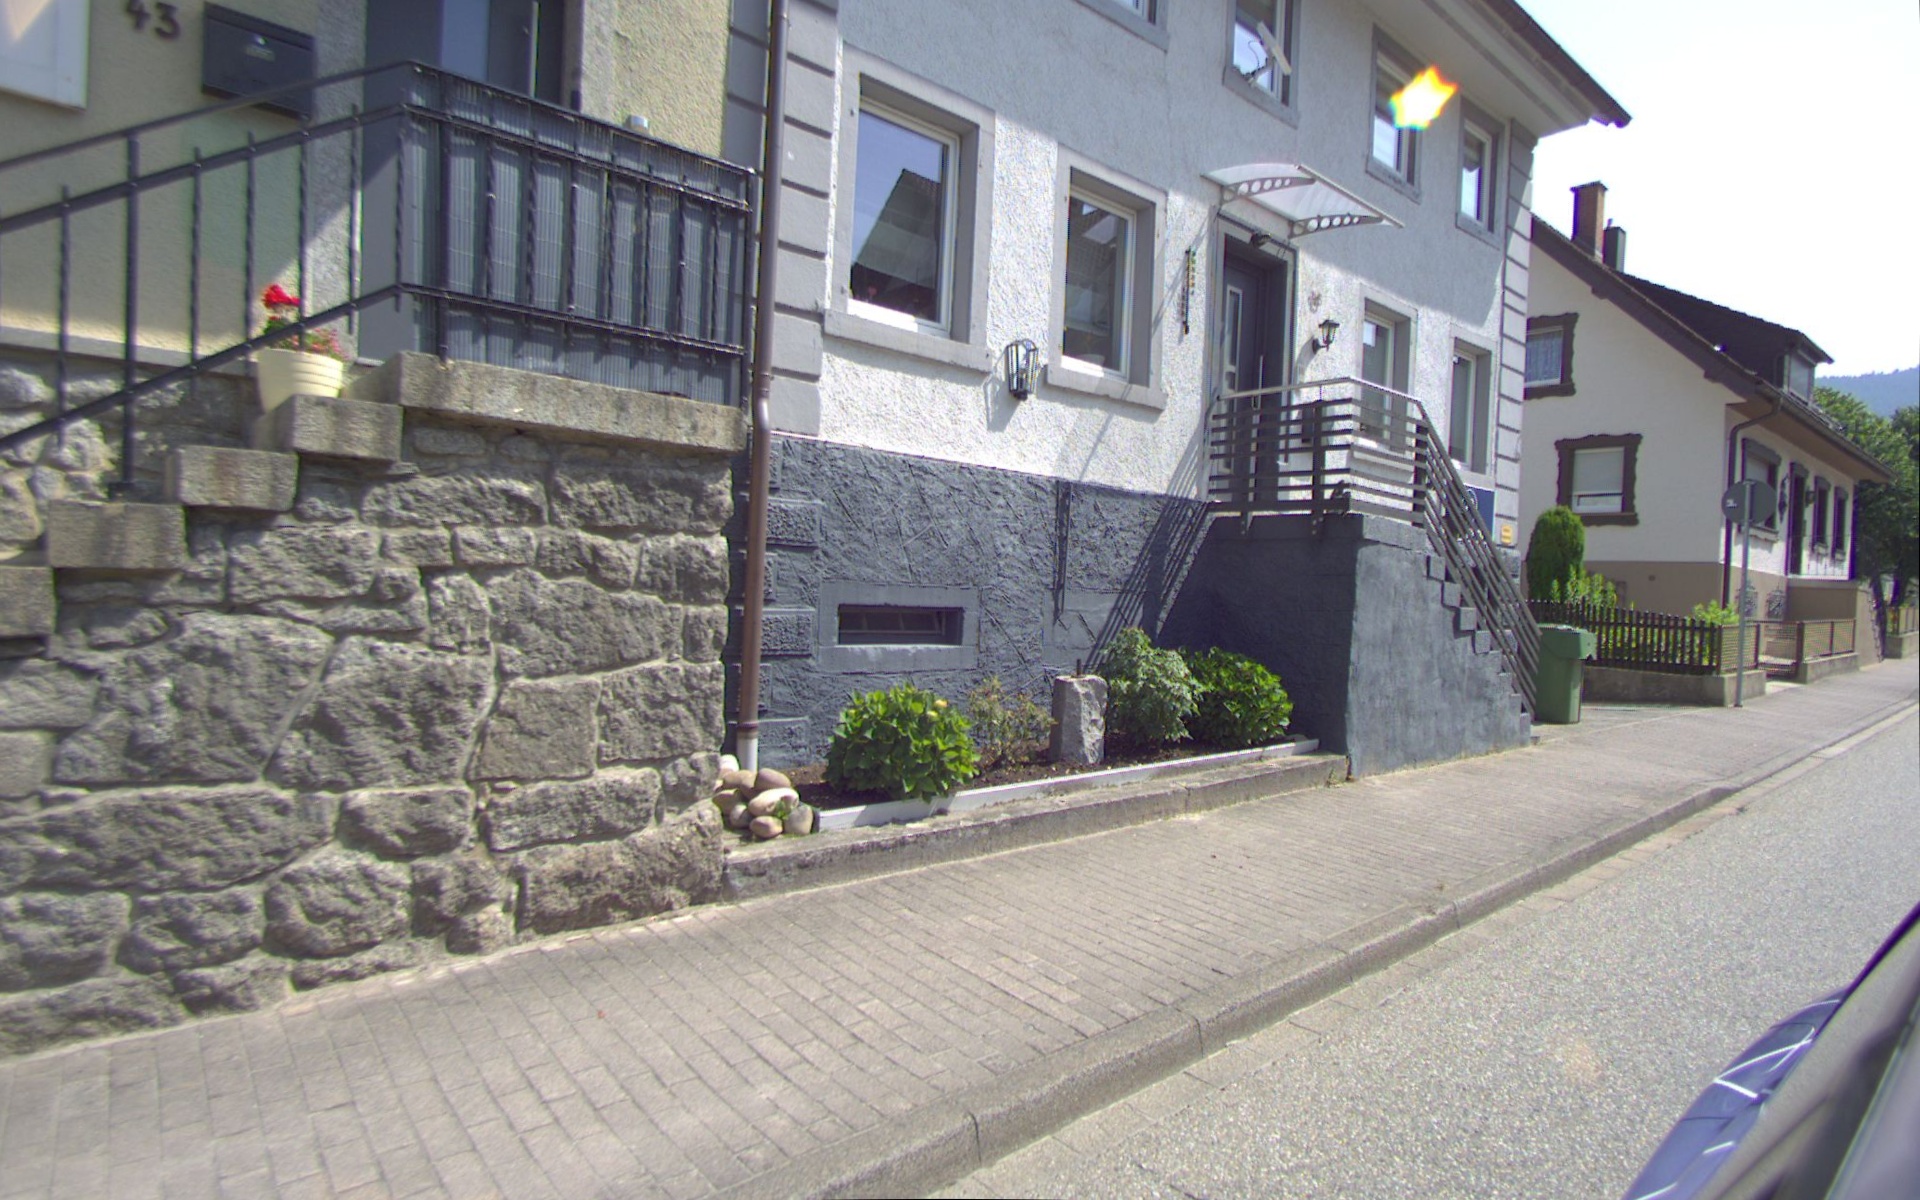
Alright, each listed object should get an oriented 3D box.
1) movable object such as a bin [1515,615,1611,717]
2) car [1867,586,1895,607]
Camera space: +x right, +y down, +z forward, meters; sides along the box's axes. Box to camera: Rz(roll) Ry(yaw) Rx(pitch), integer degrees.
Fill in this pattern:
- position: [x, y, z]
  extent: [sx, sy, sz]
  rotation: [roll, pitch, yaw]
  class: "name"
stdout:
- position: [6.651, 0.703, 11.168]
  extent: [0.607, 1.033, 0.706]
  rotation: [0, 2, -39]
  class: "movable object such as a bin"
- position: [96.294, -0.356, 105.788]
  extent: [1.994, 2.038, 3.936]
  rotation: [3, 2, 44]
  class: "car"
